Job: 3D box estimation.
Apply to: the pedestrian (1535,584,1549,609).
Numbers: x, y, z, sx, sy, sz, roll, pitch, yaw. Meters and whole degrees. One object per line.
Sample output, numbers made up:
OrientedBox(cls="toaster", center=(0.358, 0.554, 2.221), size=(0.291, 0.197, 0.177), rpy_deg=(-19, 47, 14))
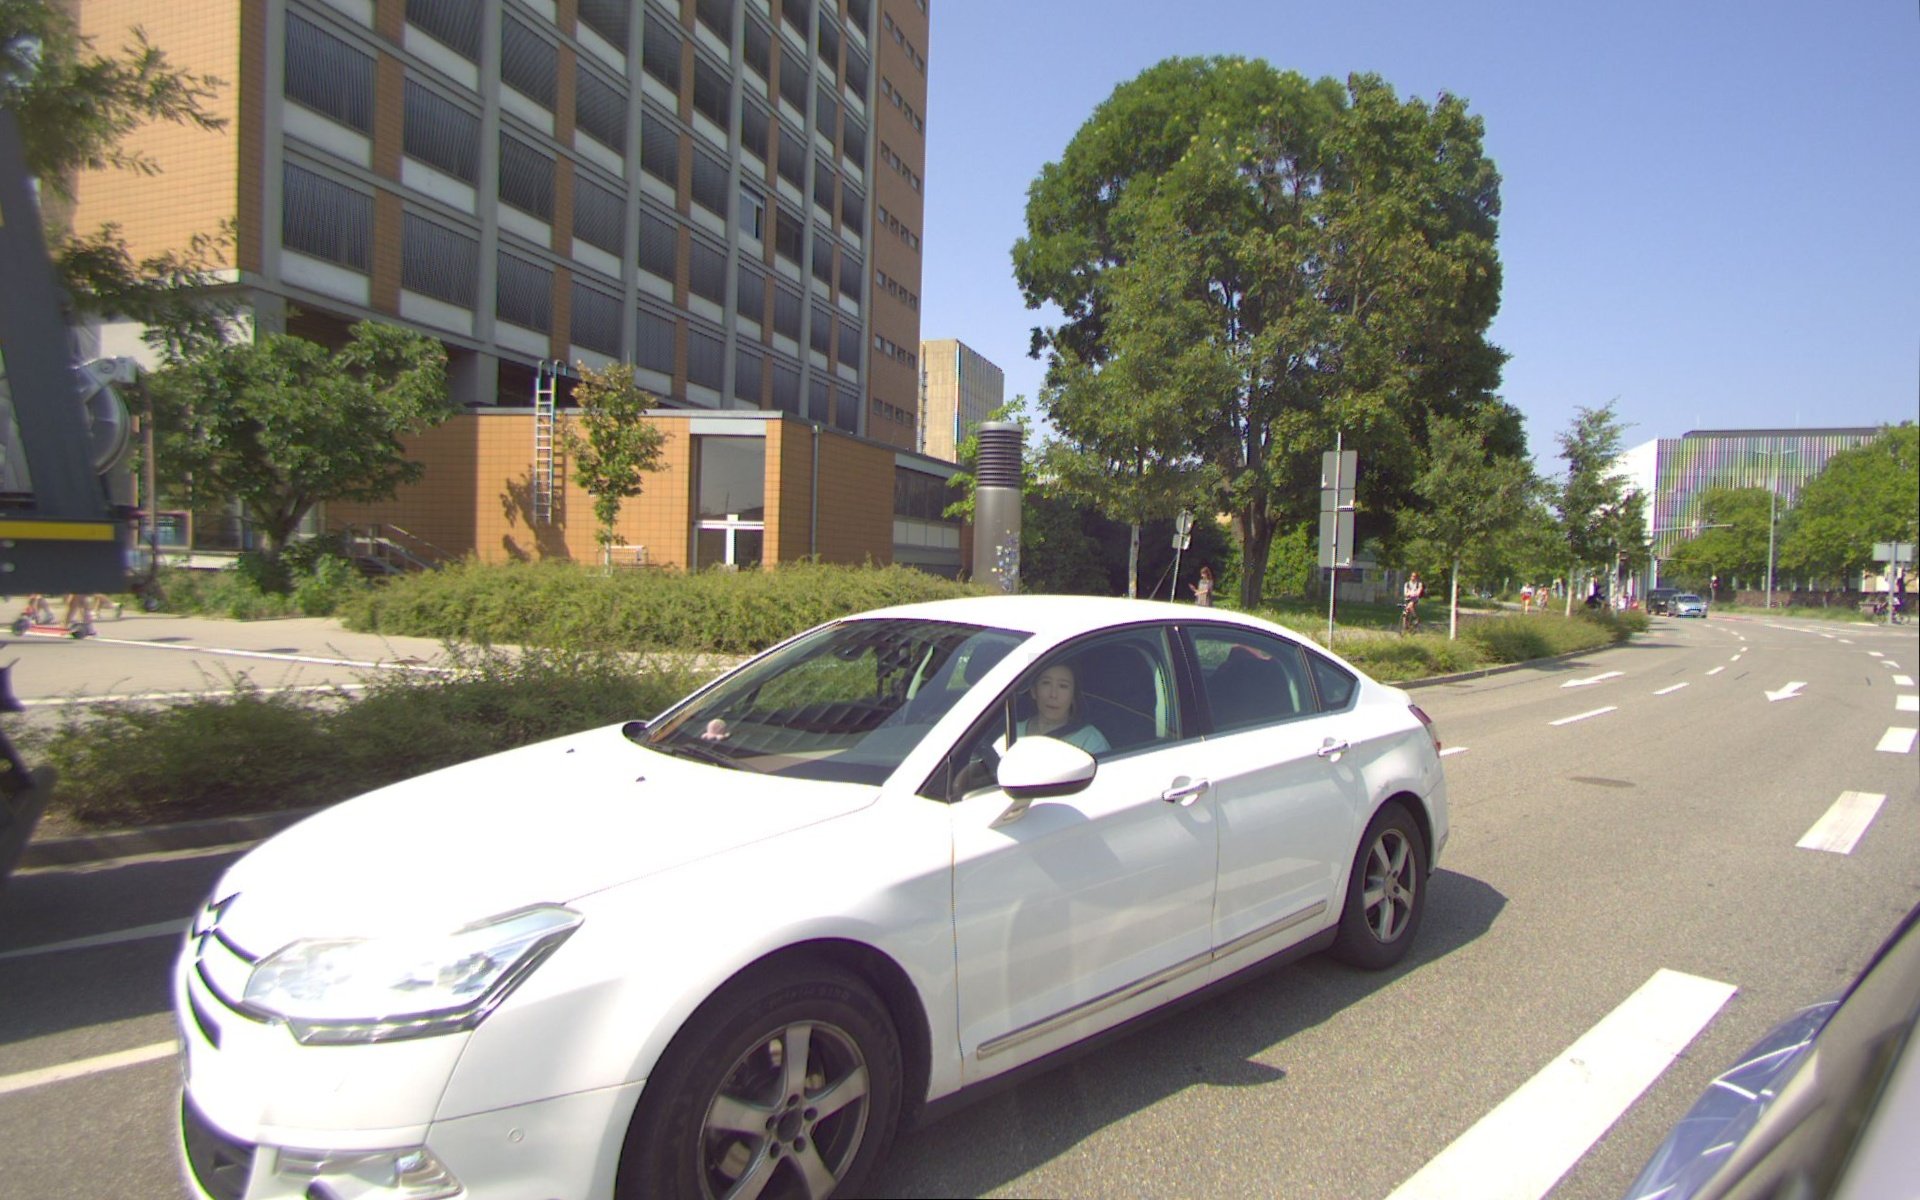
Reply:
OrientedBox(cls="pedestrian", center=(31.235, -0.202, 54.323), size=(0.610, 1.315, 0.434), rpy_deg=(0, 0, 23))

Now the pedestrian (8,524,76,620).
OrientedBox(cls="pedestrian", center=(-16.539, -0.511, 18.236), size=(0.829, 1.695, 0.672), rpy_deg=(2, 2, 27))

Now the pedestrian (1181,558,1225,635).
OrientedBox(cls="pedestrian", center=(5.597, -0.090, 23.318), size=(0.669, 1.720, 0.794), rpy_deg=(2, 1, 40))

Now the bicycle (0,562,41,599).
OrientedBox(cls="bicycle", center=(-22.976, -0.466, 23.856), size=(0.543, 0.849, 1.888), rpy_deg=(2, 2, 23))

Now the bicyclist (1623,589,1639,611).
OrientedBox(cls="bicyclist", center=(45.299, -0.005, 68.309), size=(1.032, 1.417, 0.678), rpy_deg=(0, 1, -45))

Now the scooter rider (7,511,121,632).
OrientedBox(cls="scooter rider", center=(-13.677, -0.431, 15.487), size=(1.018, 1.780, 0.862), rpy_deg=(0, 0, -15))

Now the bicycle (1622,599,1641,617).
OrientedBox(cls="bicycle", center=(45.371, 0.561, 68.380), size=(2.199, 1.183, 0.593), rpy_deg=(0, 2, -45))

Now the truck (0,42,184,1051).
OrientedBox(cls="truck", center=(-6.057, -0.177, 2.324), size=(6.737, 3.174, 2.497), rpy_deg=(0, 0, -39))

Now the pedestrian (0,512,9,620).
OrientedBox(cls="pedestrian", center=(-17.058, -0.598, 17.446), size=(0.826, 1.862, 0.674), rpy_deg=(2, 2, 19))

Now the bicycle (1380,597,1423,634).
OrientedBox(cls="bicycle", center=(12.400, 0.432, 28.388), size=(1.751, 0.992, 0.357), rpy_deg=(0, 2, -41))

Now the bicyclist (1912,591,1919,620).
OrientedBox(cls="bicyclist", center=(52.886, 0.311, 55.407), size=(1.013, 1.570, 0.708), rpy_deg=(2, 1, 43))

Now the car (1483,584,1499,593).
OrientedBox(cls="car", center=(102.047, -2.199, 194.643), size=(1.849, 1.549, 4.510), rpy_deg=(2, 2, 17))

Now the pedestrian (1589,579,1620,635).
OrientedBox(cls="pedestrian", center=(22.715, 0.250, 35.661), size=(0.818, 1.926, 0.622), rpy_deg=(2, 1, 37))

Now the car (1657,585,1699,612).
OrientedBox(cls="car", center=(53.126, -0.118, 74.955), size=(1.874, 1.943, 4.489), rpy_deg=(1, 1, 28))

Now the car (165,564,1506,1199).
OrientedBox(cls="car", center=(0.045, 0.654, 3.629), size=(4.527, 1.446, 1.773), rpy_deg=(0, 2, -40))

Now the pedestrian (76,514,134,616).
OrientedBox(cls="pedestrian", center=(-16.309, -0.664, 19.301), size=(0.831, 1.894, 0.622), rpy_deg=(2, 2, 31))

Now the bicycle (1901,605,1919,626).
OrientedBox(cls="bicycle", center=(52.992, 0.891, 55.302), size=(2.260, 1.090, 0.649), rpy_deg=(3, 2, 43))

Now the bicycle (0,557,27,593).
OrientedBox(cls="bicycle", center=(-23.602, -0.604, 24.159), size=(0.543, 0.849, 1.888), rpy_deg=(2, 2, 23))

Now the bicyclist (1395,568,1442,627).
OrientedBox(cls="bicyclist", center=(13.067, -0.087, 28.854), size=(0.909, 1.625, 0.903), rpy_deg=(0, 1, -43))

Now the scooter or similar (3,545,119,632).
OrientedBox(cls="scooter or similar", center=(-13.731, -0.177, 15.487), size=(1.152, 1.295, 0.653), rpy_deg=(0, 0, -14))

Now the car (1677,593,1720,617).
OrientedBox(cls="car", center=(50.018, 0.311, 68.624), size=(1.643, 1.550, 4.491), rpy_deg=(0, 0, 27))

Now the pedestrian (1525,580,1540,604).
OrientedBox(cls="pedestrian", center=(30.837, -0.420, 54.543), size=(0.627, 1.315, 0.483), rpy_deg=(0, 0, 23))
